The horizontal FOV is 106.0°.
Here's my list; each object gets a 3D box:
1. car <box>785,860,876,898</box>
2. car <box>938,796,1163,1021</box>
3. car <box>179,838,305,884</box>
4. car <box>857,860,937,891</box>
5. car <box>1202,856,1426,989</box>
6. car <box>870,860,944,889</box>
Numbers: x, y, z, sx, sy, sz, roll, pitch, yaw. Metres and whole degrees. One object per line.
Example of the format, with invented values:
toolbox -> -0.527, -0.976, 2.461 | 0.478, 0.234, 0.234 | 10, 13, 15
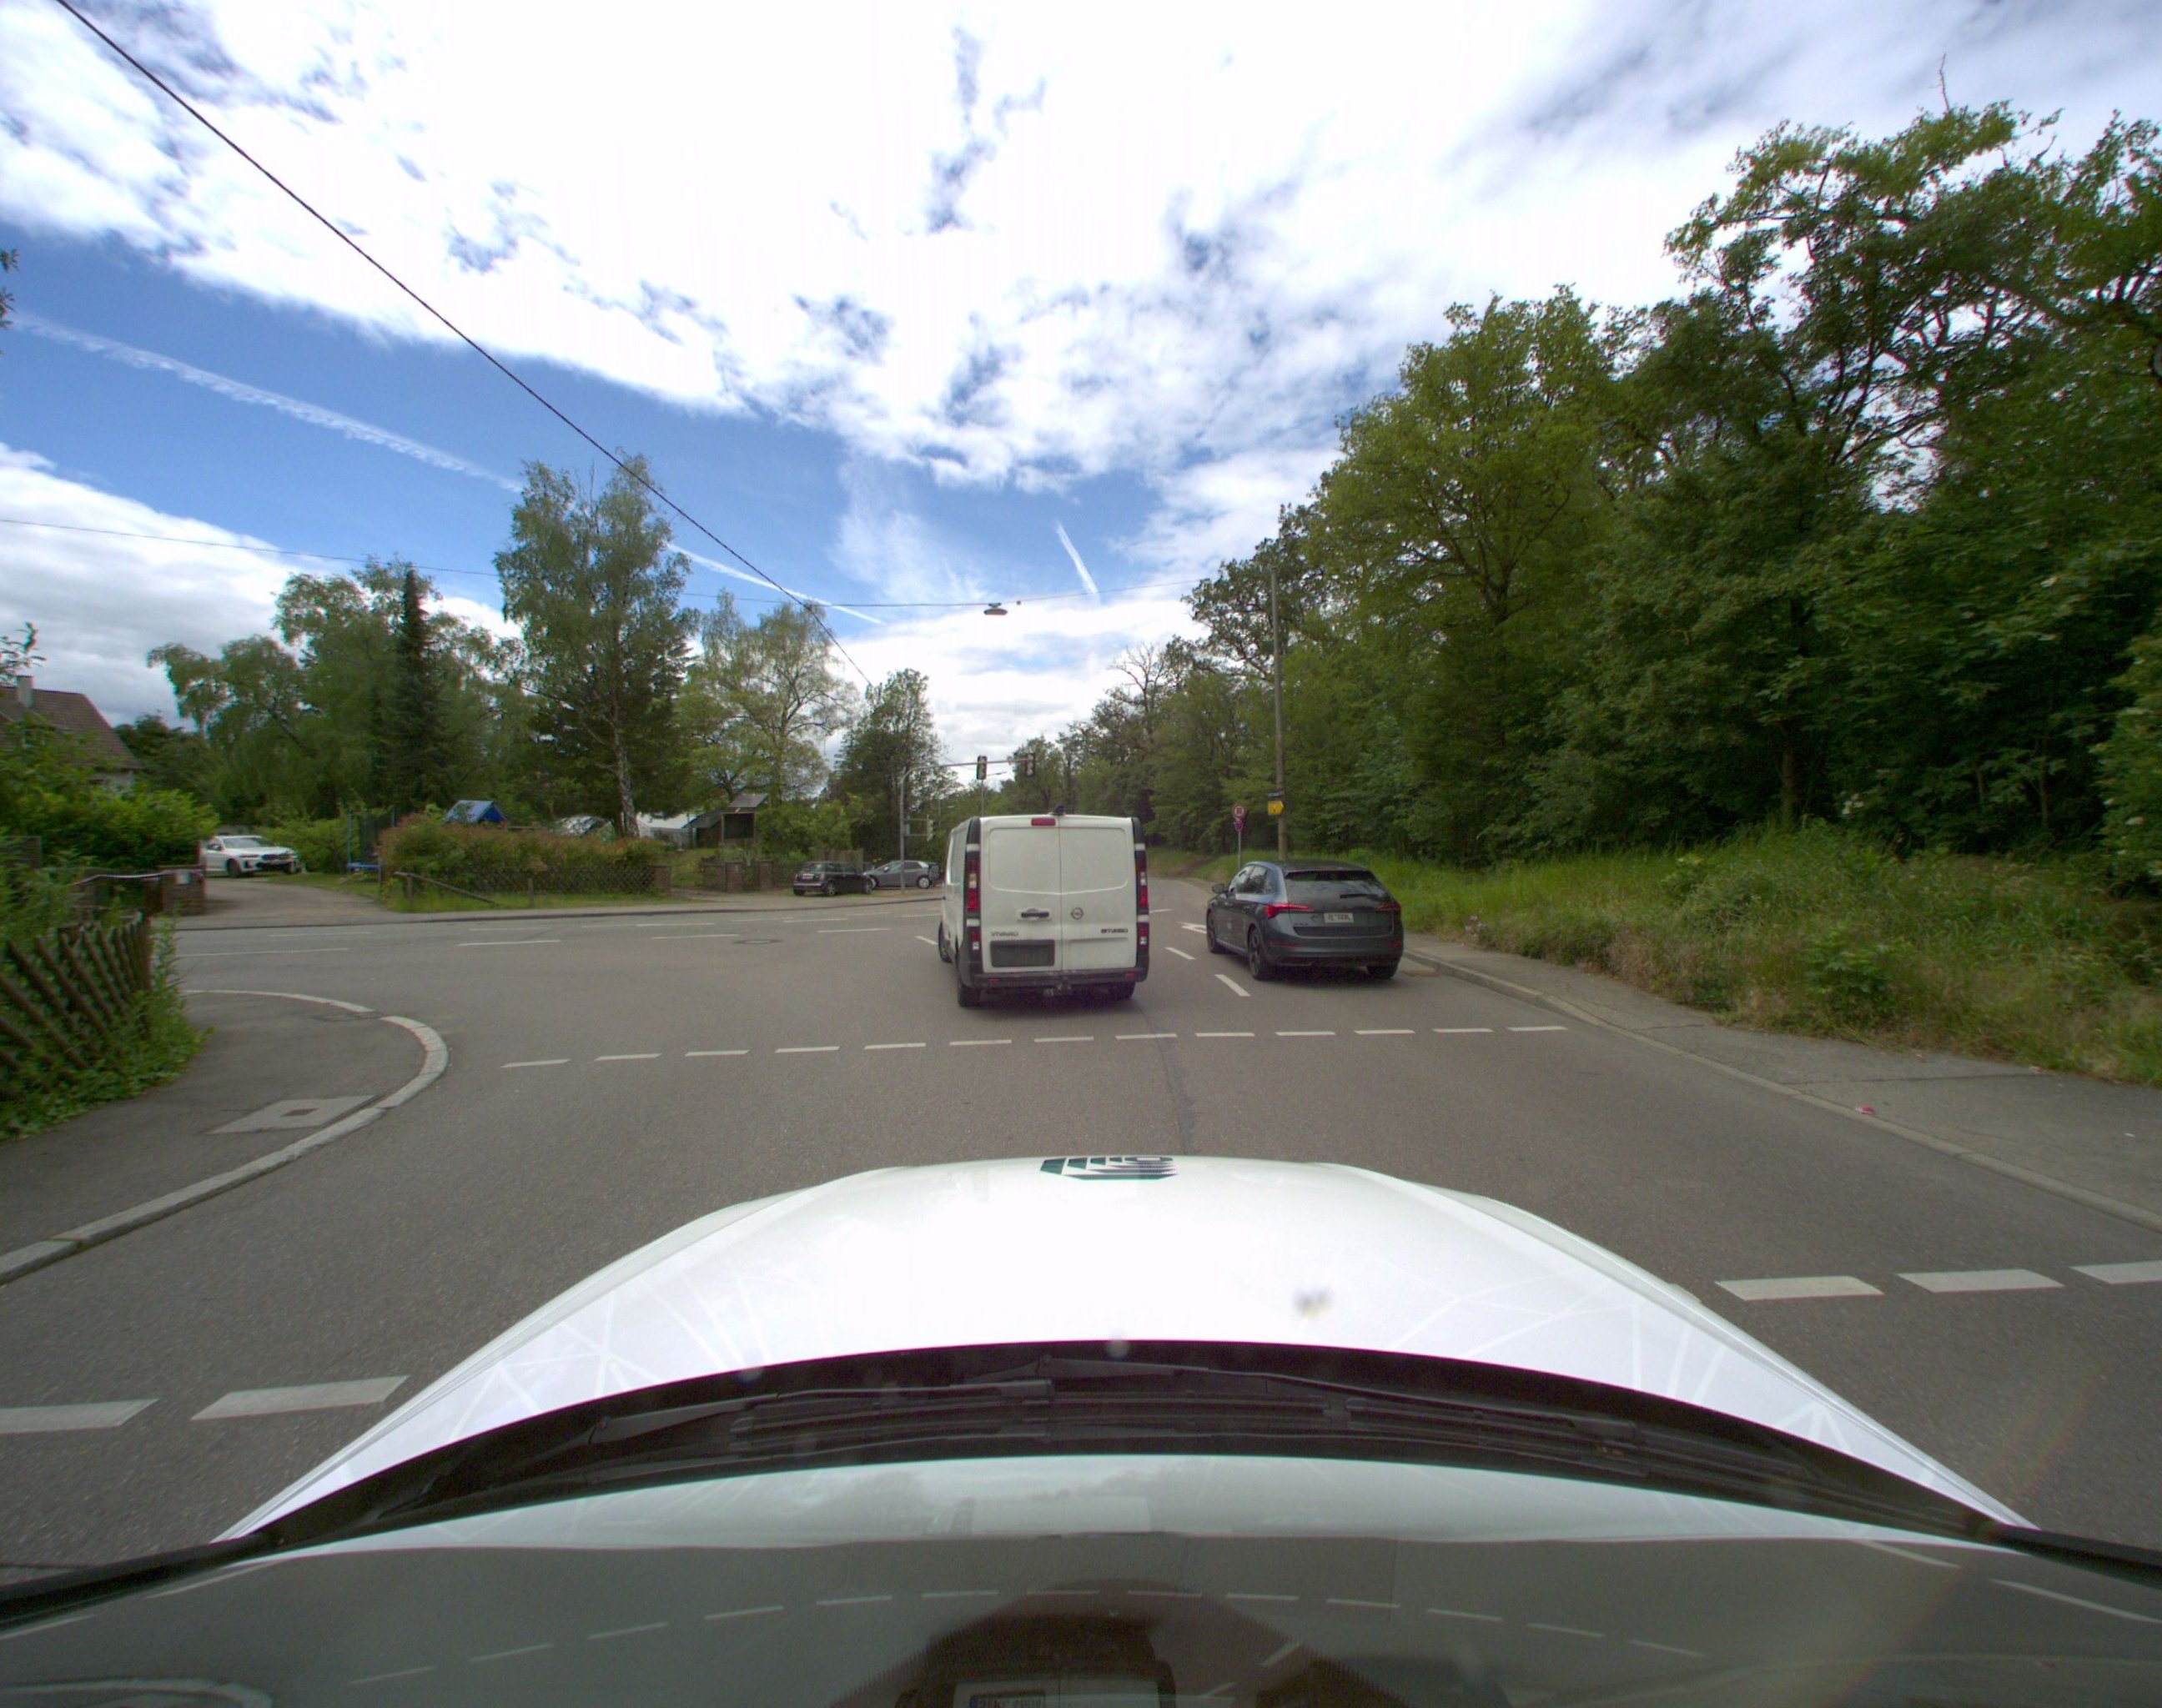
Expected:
car -> -10.235, 0.979, 33.507 | 1.683, 1.449, 3.562 | 1, 0, 22
car -> -0.655, 0.487, 9.932 | 1.918, 2.053, 4.594 | -1, 0, -13
car -> -33.311, 0.236, 32.353 | 4.290, 1.657, 2.012 | 0, 3, 23
car -> -9.852, 1.117, 43.707 | 4.093, 1.553, 1.845 | -1, 0, -15
car -> 2.906, 0.767, 11.108 | 1.788, 1.450, 3.997 | -1, 0, -2
car -> -10.001, 1.148, 46.762 | 4.093, 1.553, 1.845 | -1, 0, -15
